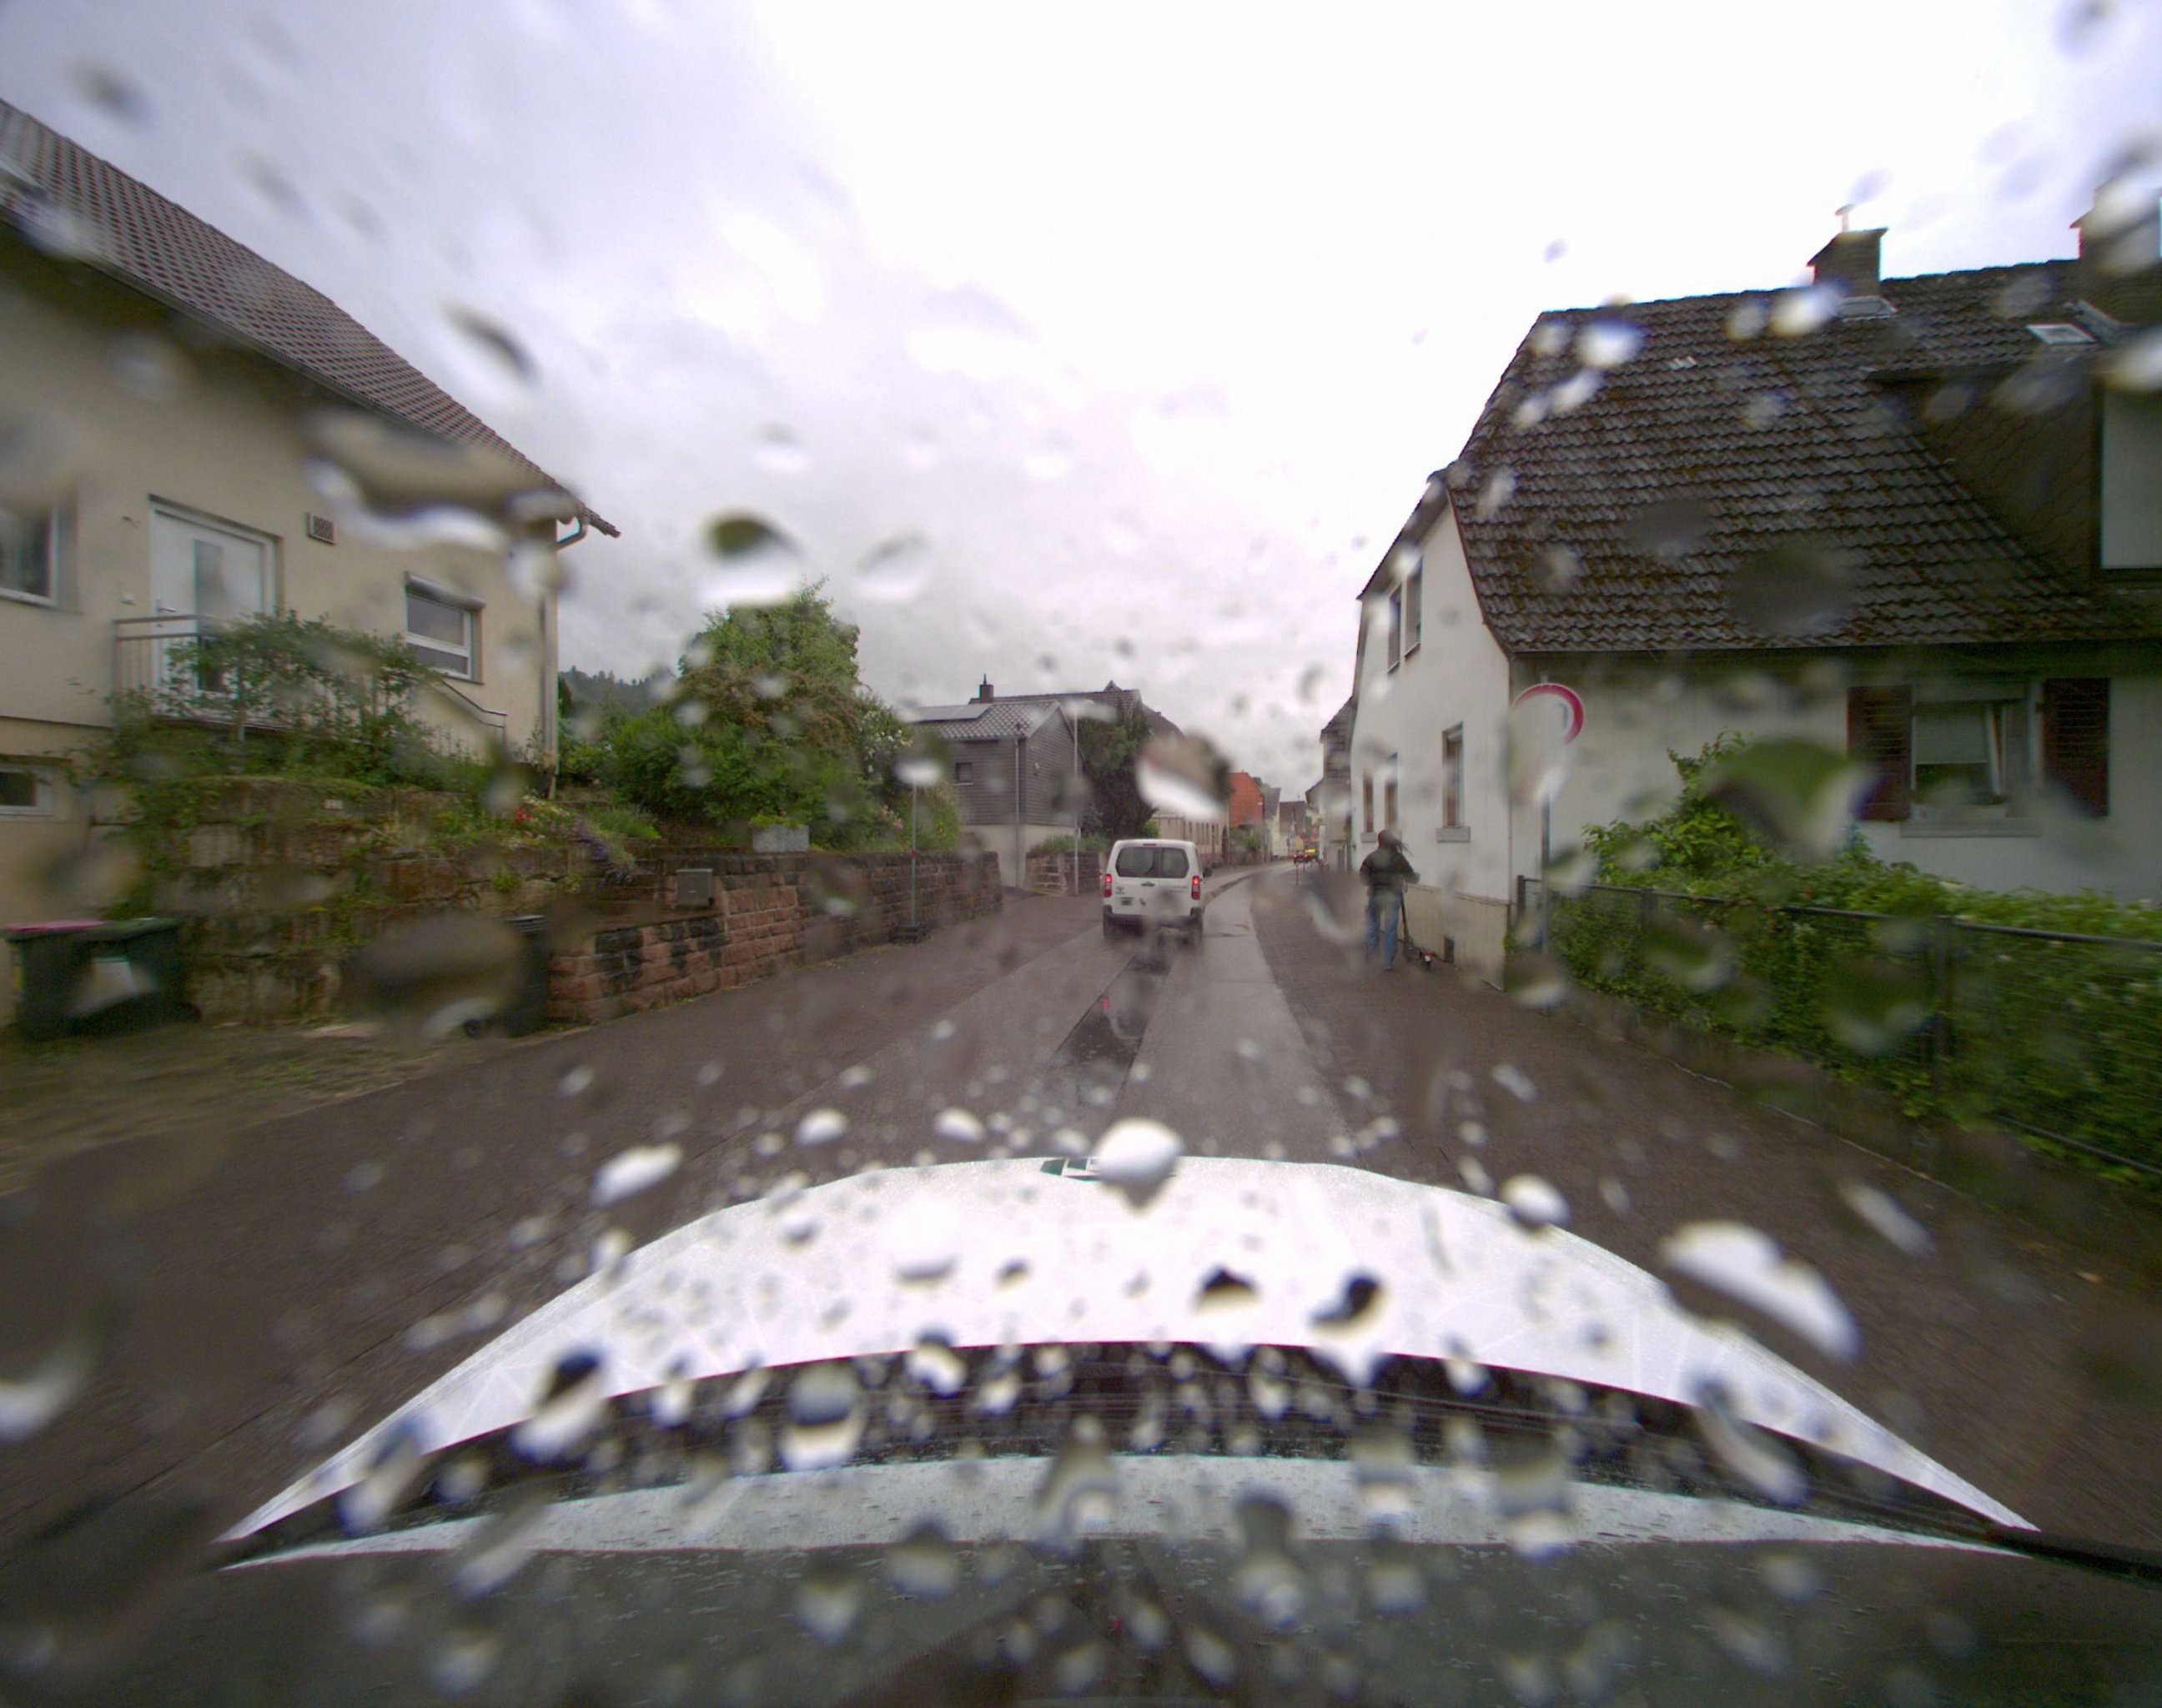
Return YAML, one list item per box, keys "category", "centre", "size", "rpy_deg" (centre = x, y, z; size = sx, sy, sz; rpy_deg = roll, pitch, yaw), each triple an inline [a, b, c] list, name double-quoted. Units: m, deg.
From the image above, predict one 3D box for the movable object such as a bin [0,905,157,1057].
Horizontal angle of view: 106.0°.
- category: "movable object such as a bin"
  centre: [-8.295, 1.016, 6.733]
  size: [0.602, 1.107, 0.653]
  rpy_deg: [2, 2, 15]

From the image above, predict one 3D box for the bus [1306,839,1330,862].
- category: "bus"
  centre: [34.451, -0.533, 118.240]
  size: [2.771, 3.179, 8.217]
  rpy_deg: [2, 1, 19]

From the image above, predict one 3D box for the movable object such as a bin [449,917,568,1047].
- category: "movable object such as a bin"
  centre: [-4.551, 0.999, 6.499]
  size: [0.535, 0.930, 0.545]
  rpy_deg: [1, 0, 7]

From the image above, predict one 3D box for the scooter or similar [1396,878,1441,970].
- category: "scooter or similar"
  centre: [4.239, 0.851, 10.259]
  size: [0.243, 1.027, 1.103]
  rpy_deg: [1, 2, 9]

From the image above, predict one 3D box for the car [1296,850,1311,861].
- category: "car"
  centre: [29.006, 0.160, 106.115]
  size: [1.549, 1.371, 3.602]
  rpy_deg: [1, 0, 19]

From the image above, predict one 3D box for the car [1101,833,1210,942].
- category: "car"
  centre: [1.593, 0.572, 15.990]
  size: [1.784, 1.818, 4.112]
  rpy_deg: [1, 0, 9]

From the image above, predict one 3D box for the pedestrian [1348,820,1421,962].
- category: "pedestrian"
  centre: [3.873, 0.446, 10.433]
  size: [0.690, 1.732, 0.823]
  rpy_deg: [1, 1, 9]

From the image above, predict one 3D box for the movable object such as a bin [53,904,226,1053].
- category: "movable object such as a bin"
  centre: [-7.645, 0.981, 6.639]
  size: [0.618, 1.062, 0.658]
  rpy_deg: [1, 3, 11]

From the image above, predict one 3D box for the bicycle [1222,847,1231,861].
- category: "bicycle"
  centre: [12.610, -0.006, 70.517]
  size: [0.479, 1.180, 1.845]
  rpy_deg: [1, 0, 21]
